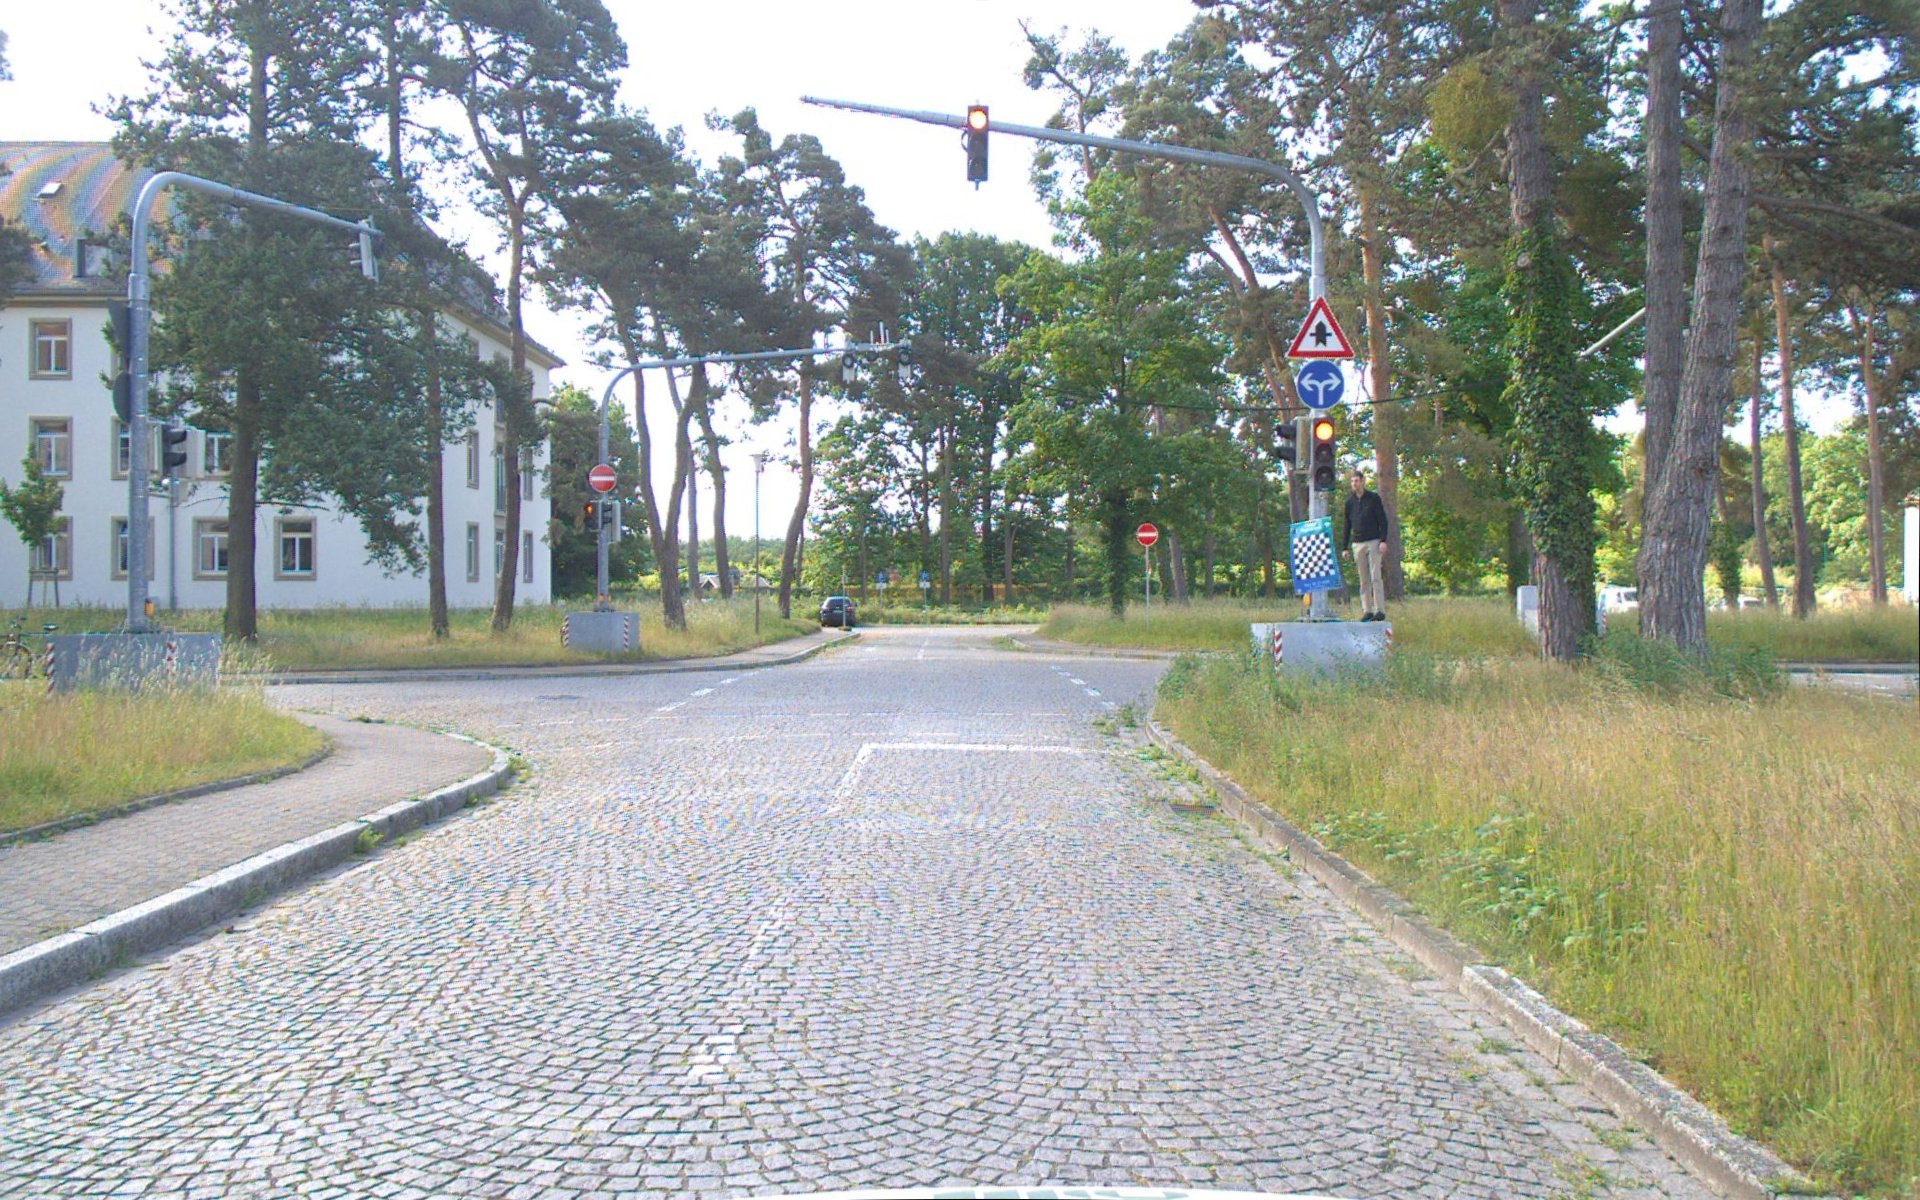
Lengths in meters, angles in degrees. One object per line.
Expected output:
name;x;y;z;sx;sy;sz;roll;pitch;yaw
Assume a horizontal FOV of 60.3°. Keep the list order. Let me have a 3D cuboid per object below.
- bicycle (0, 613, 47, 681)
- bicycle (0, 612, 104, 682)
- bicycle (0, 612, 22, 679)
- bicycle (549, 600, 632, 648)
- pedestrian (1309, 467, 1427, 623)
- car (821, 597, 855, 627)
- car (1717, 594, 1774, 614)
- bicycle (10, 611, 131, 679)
bicycle;-17.965;0.874;30.944;0.620;1.242;2.114;0;0;-1
bicycle;-16.717;0.852;30.212;1.824;1.242;0.635;0;0;-1
bicycle;-18.440;0.867;30.924;0.620;1.242;2.123;0;0;-1
bicycle;-8.544;0.543;38.291;0.623;1.084;1.942;0;0;38
pedestrian;4.987;-0.646;20.176;1.146;1.827;1.061;-1;0;29
car;-6.433;0.625;87.712;1.675;1.522;3.917;0;0;-3
car;44.933;0.226;94.675;1.686;1.106;4.003;0;0;5
bicycle;-16.626;0.830;30.928;1.905;1.242;0.635;0;0;-1
